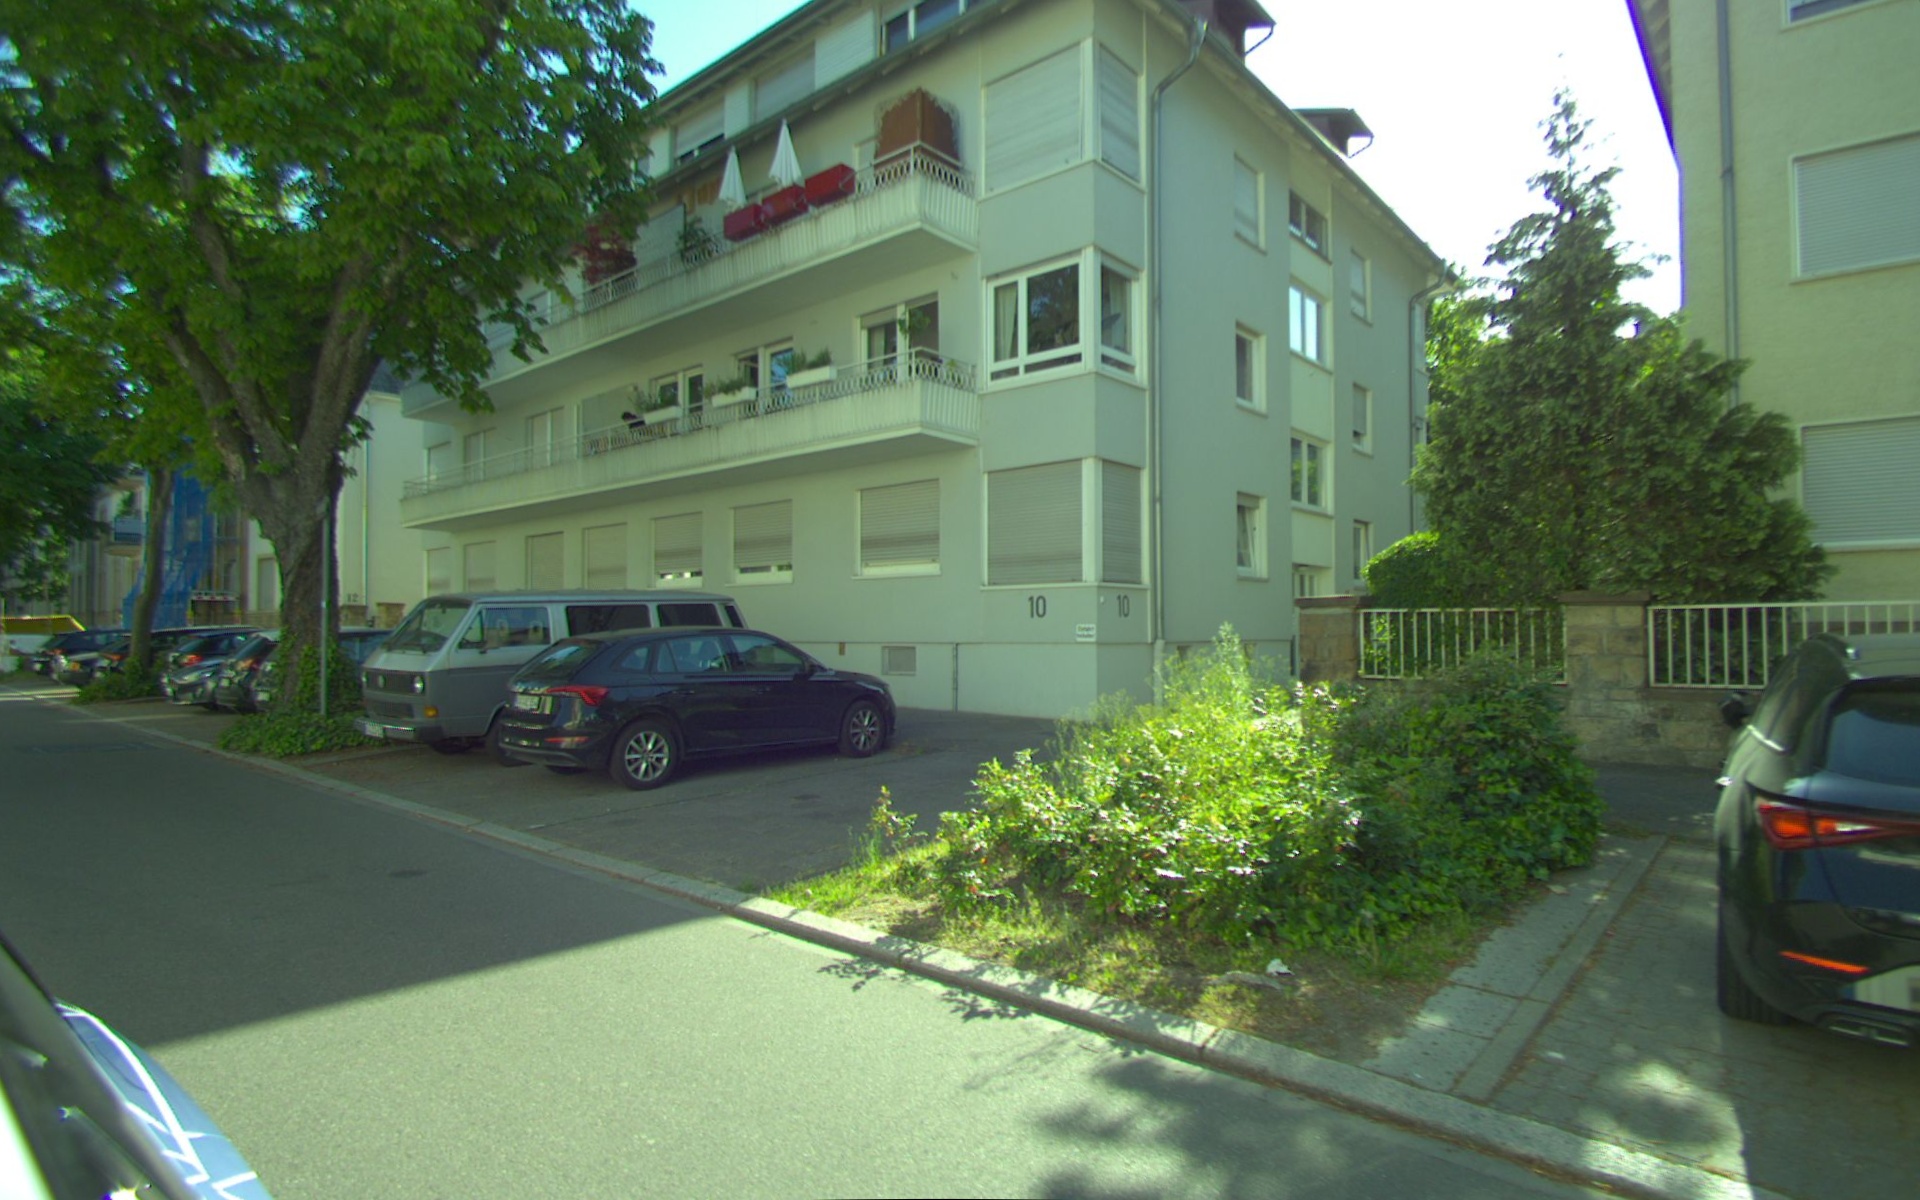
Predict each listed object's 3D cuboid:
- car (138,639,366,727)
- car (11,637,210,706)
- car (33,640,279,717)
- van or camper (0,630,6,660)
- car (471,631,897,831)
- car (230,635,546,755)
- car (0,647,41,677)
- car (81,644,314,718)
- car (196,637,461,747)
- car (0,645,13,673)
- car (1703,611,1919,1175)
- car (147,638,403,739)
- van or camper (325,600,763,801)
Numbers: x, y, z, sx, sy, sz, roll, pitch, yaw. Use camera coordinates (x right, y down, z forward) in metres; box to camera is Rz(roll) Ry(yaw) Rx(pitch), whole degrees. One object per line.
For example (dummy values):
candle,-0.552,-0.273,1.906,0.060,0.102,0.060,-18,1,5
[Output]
car,-14.372,1.622,20.685,1.707,1.431,3.448,-1,1,36
car,-23.515,1.920,28.140,1.827,1.525,3.842,-1,1,32
car,-20.004,1.878,25.377,1.831,1.619,4.544,-1,-1,38
van or camper,-58.109,2.684,58.681,1.808,1.787,3.904,-3,-2,40
car,-2.634,1.138,10.324,1.662,1.510,3.903,-2,-1,43
car,-8.694,1.353,15.638,1.713,1.425,3.884,-2,0,38
car,-47.651,3.048,49.590,1.714,1.476,3.686,-3,-4,42
car,-17.906,1.834,23.934,1.711,1.452,4.145,-1,-1,39
car,-10.601,1.454,17.131,1.797,1.469,3.442,-1,0,42
car,-51.372,3.089,51.764,1.709,1.411,4.097,-2,-1,40
car,4.253,0.805,4.014,1.860,1.510,4.145,-2,-2,39
car,-12.523,1.531,18.648,1.710,1.474,3.604,-1,0,43
van or camper,-4.742,0.999,12.084,1.963,1.929,4.451,-1,-1,41
